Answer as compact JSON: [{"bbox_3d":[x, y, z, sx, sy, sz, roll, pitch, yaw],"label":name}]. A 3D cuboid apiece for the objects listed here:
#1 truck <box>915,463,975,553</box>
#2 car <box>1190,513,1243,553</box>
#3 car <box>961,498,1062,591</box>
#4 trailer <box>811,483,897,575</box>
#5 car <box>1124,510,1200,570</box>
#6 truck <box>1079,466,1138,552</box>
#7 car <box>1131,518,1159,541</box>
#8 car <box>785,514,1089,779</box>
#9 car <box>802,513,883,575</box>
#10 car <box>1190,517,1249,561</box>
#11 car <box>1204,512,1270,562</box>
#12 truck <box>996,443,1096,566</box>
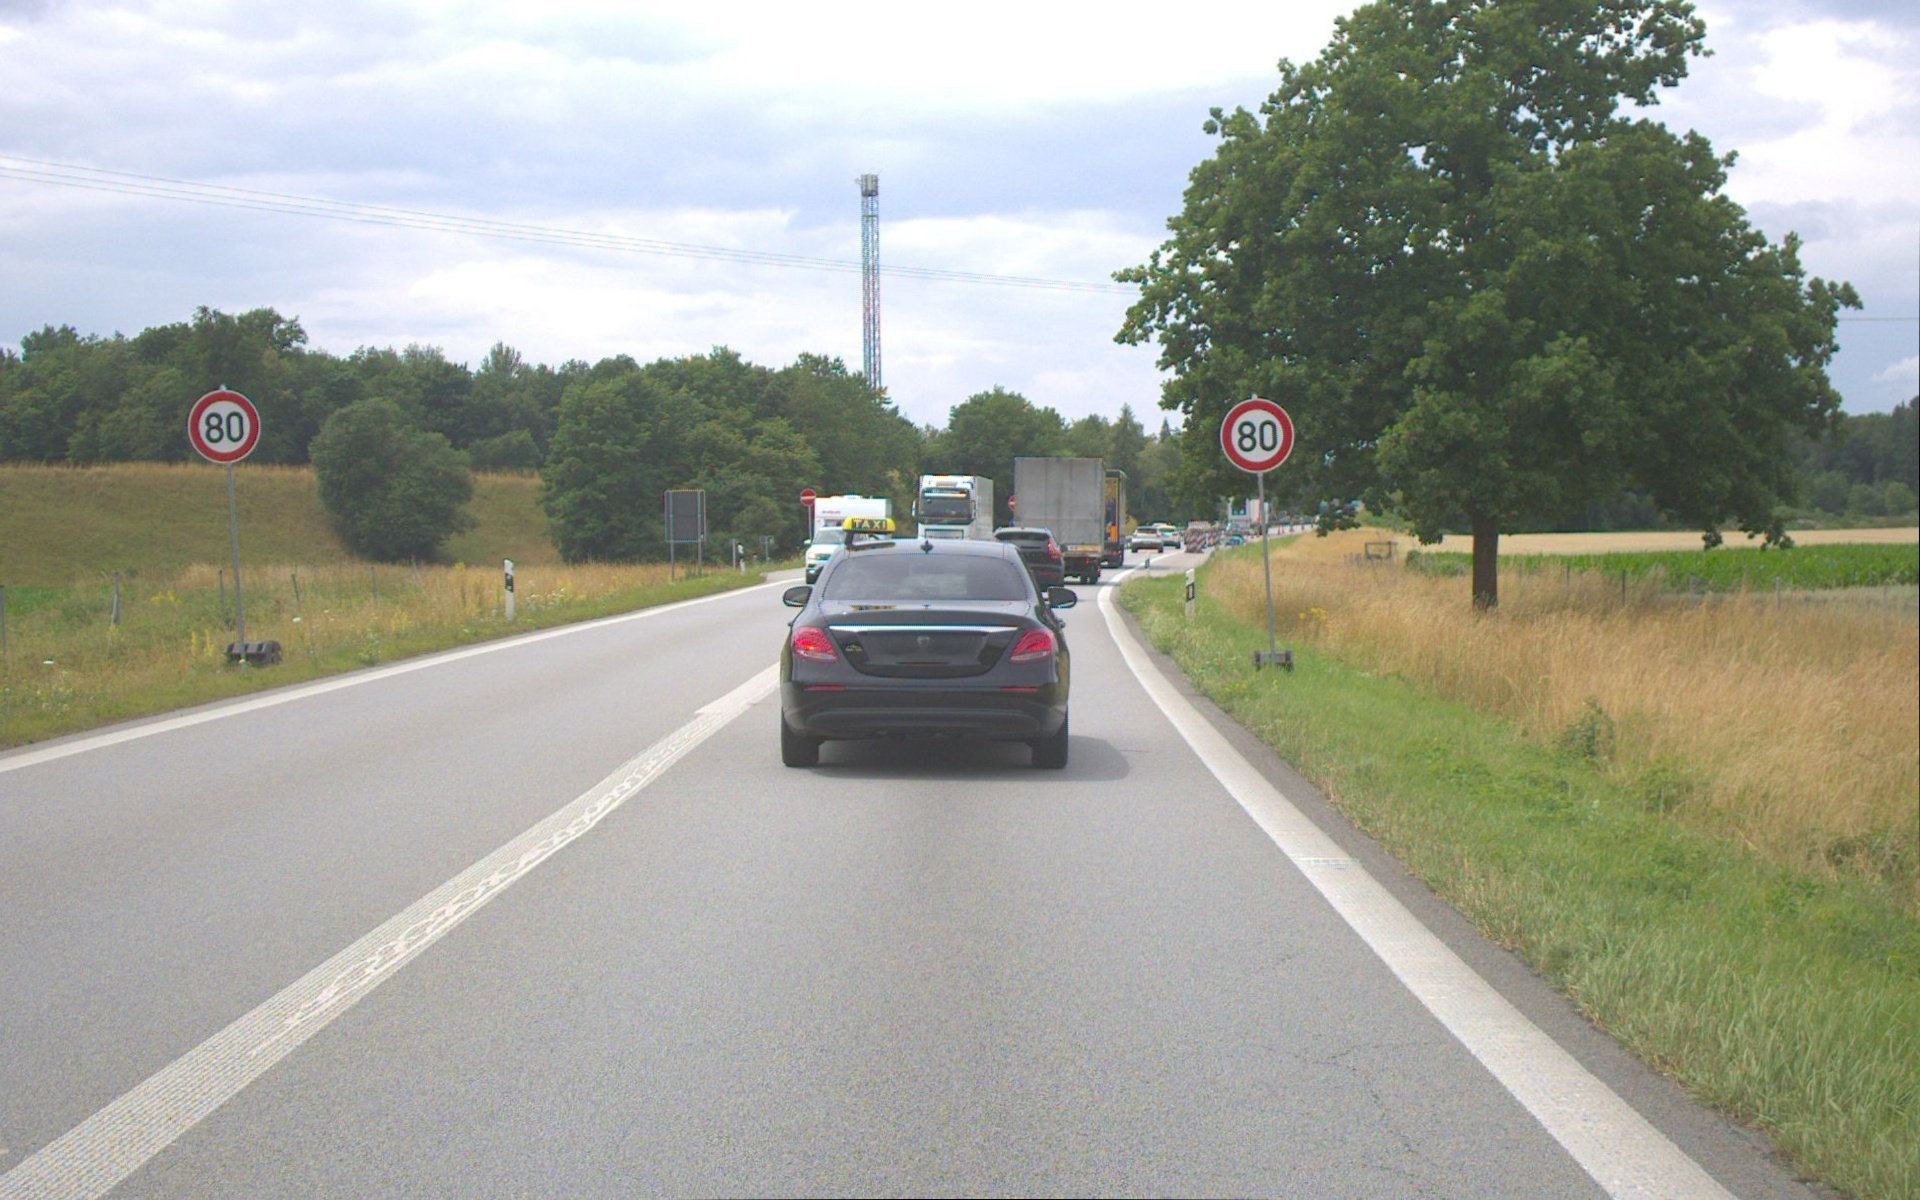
[{"bbox_3d":[-0.647,-4.155,155.807,2.490,3.982,5.204,1,1,2],"label":"truck"},{"bbox_3d":[11.080,-2.888,148.520,1.795,1.657,4.000,1,1,-2],"label":"car"},{"bbox_3d":[1.136,-1.248,77.467,1.993,2.007,4.000,1,1,-2],"label":"car"},{"bbox_3d":[-3.103,-2.078,101.474,2.182,2.566,6.244,2,1,1],"label":"trailer"},{"bbox_3d":[5.905,-1.754,100.706,1.795,1.657,4.000,1,1,-2],"label":"car"},{"bbox_3d":[6.185,-3.778,143.817,1.993,3.513,4.593,1,1,-2],"label":"truck"},{"bbox_3d":[11.461,-4.359,212.646,1.649,1.391,3.706,2,1,2],"label":"car"},{"bbox_3d":[-0.218,0.255,22.739,1.795,1.554,4.000,1,1,-2],"label":"car"},{"bbox_3d":[-3.257,-1.562,96.190,2.006,1.652,4.327,2,1,1],"label":"car"},{"bbox_3d":[10.159,-2.382,134.884,1.795,1.657,4.000,1,1,-2],"label":"car"},{"bbox_3d":[9.646,-2.197,120.048,1.795,1.657,4.000,1,1,-2],"label":"car"},{"bbox_3d":[2.595,-2.810,102.291,2.587,3.512,4.812,2,1,5],"label":"truck"}]
